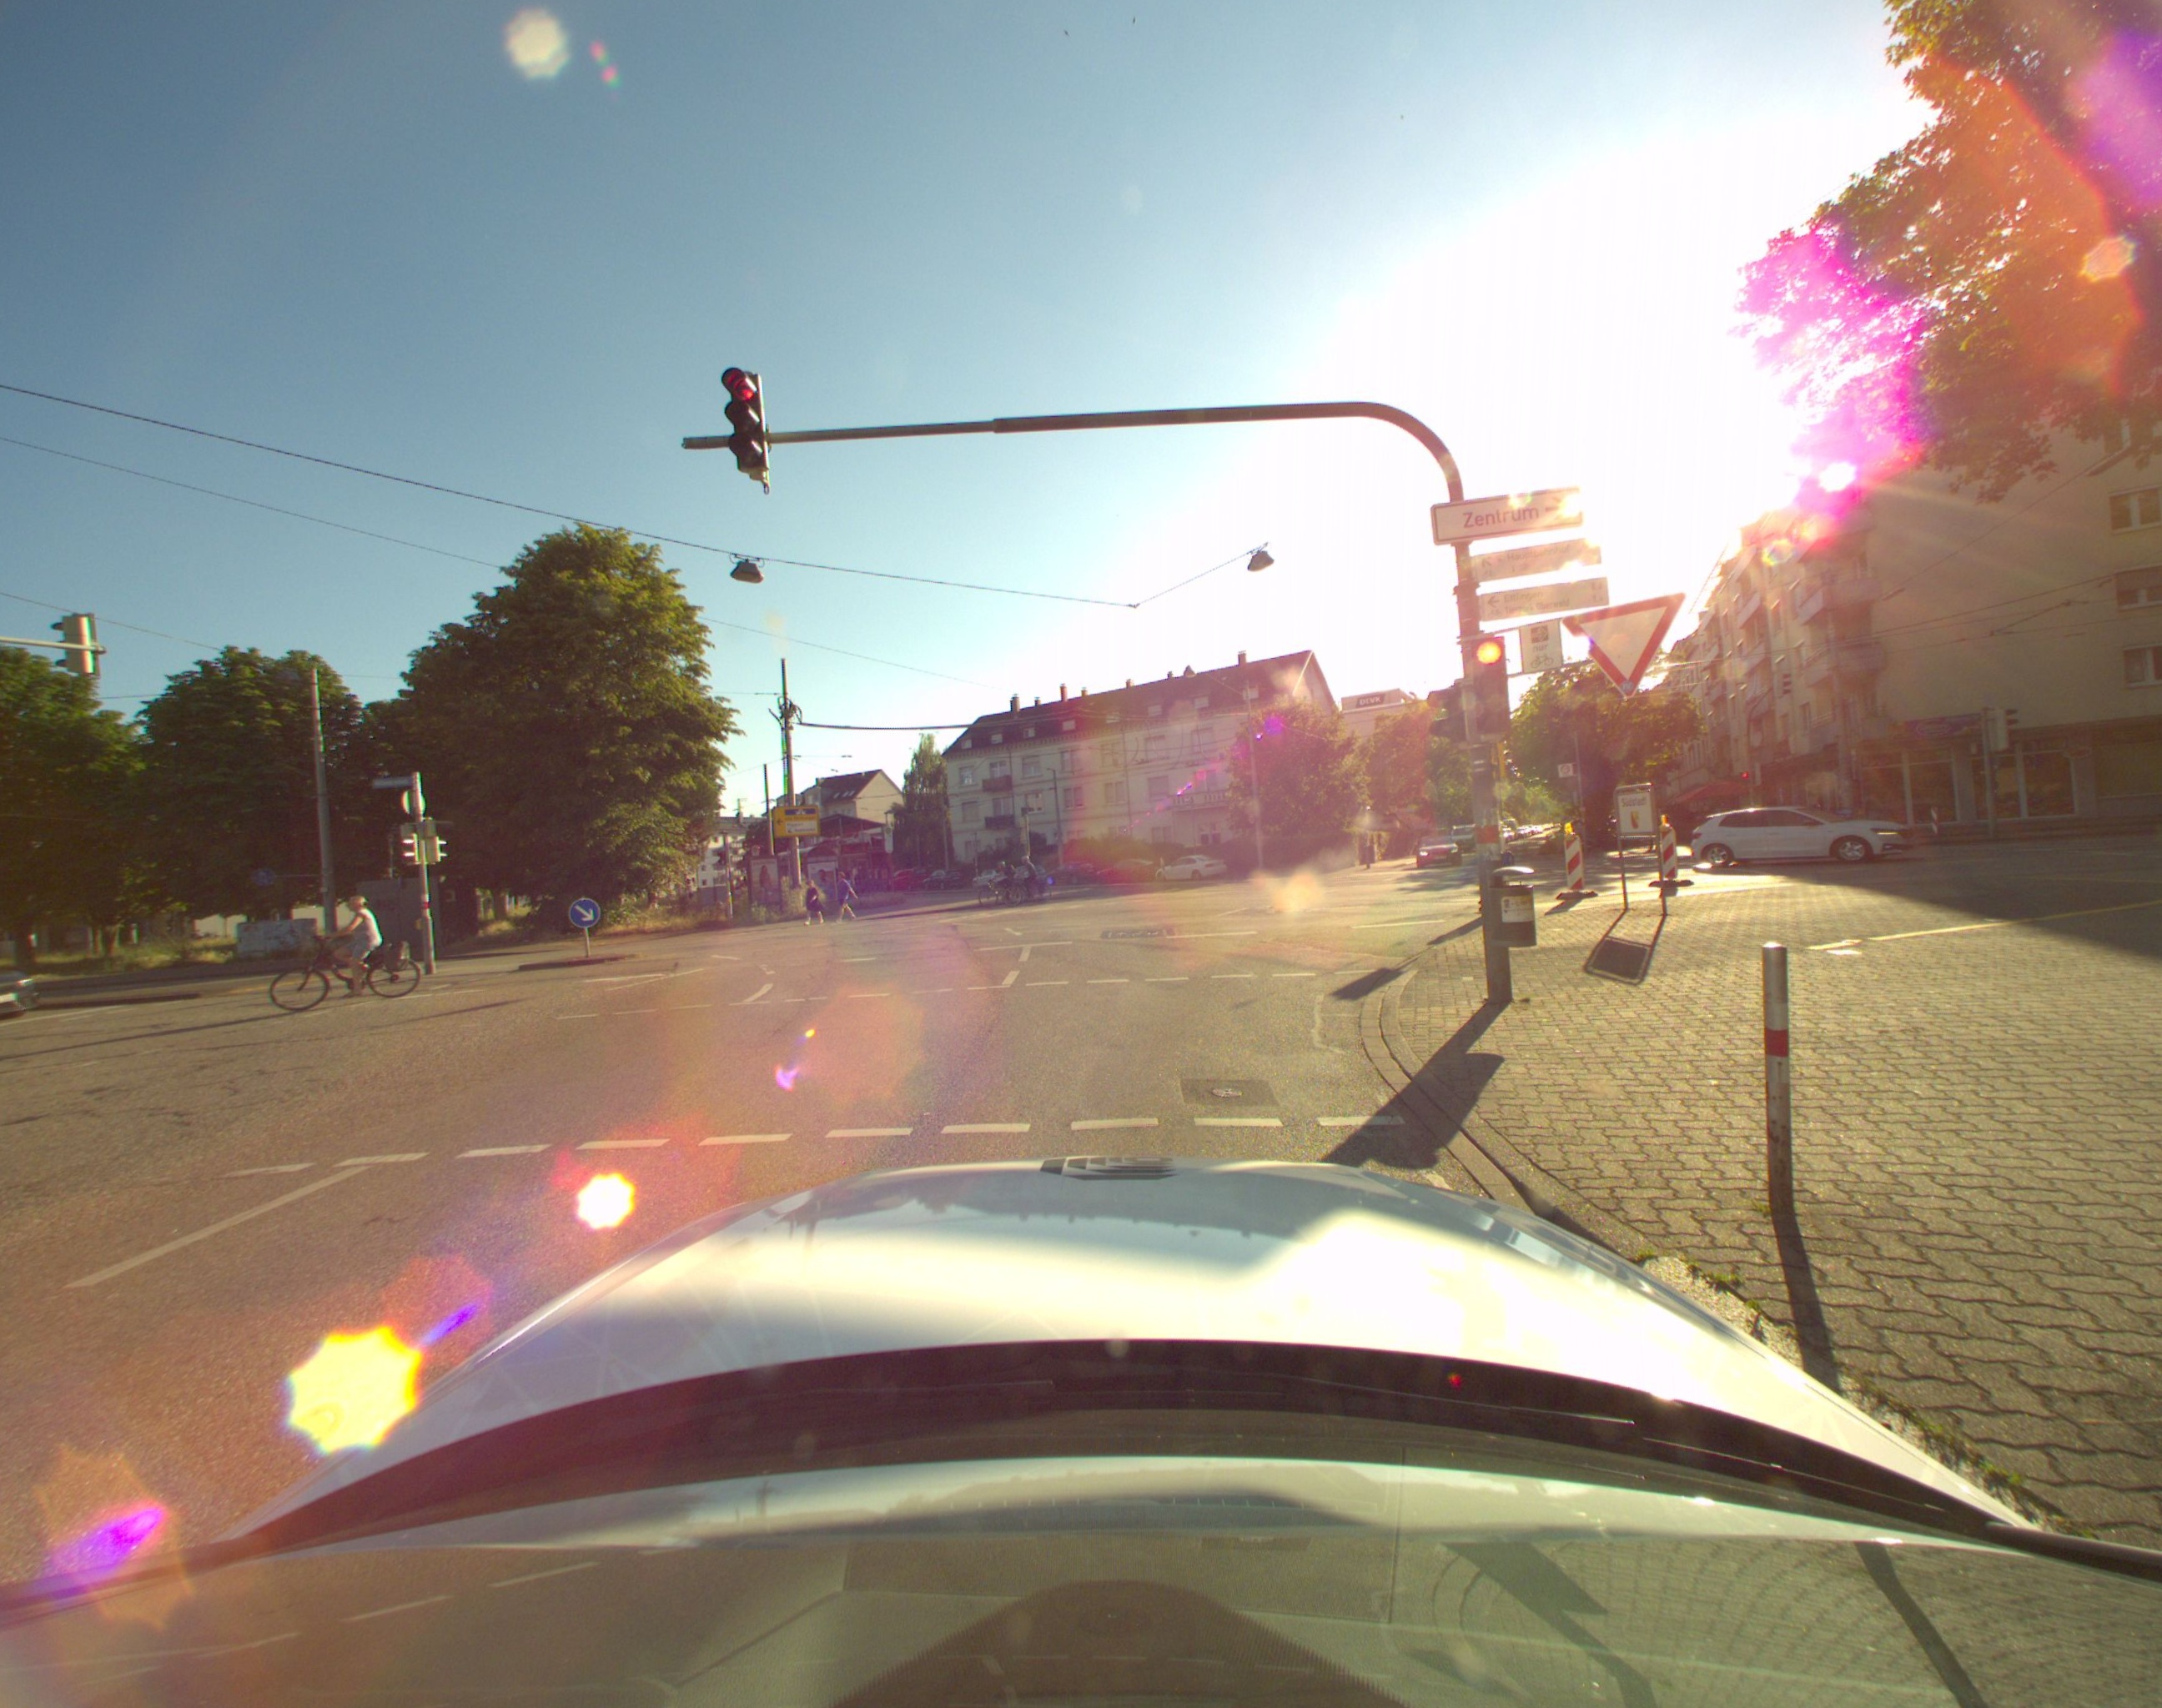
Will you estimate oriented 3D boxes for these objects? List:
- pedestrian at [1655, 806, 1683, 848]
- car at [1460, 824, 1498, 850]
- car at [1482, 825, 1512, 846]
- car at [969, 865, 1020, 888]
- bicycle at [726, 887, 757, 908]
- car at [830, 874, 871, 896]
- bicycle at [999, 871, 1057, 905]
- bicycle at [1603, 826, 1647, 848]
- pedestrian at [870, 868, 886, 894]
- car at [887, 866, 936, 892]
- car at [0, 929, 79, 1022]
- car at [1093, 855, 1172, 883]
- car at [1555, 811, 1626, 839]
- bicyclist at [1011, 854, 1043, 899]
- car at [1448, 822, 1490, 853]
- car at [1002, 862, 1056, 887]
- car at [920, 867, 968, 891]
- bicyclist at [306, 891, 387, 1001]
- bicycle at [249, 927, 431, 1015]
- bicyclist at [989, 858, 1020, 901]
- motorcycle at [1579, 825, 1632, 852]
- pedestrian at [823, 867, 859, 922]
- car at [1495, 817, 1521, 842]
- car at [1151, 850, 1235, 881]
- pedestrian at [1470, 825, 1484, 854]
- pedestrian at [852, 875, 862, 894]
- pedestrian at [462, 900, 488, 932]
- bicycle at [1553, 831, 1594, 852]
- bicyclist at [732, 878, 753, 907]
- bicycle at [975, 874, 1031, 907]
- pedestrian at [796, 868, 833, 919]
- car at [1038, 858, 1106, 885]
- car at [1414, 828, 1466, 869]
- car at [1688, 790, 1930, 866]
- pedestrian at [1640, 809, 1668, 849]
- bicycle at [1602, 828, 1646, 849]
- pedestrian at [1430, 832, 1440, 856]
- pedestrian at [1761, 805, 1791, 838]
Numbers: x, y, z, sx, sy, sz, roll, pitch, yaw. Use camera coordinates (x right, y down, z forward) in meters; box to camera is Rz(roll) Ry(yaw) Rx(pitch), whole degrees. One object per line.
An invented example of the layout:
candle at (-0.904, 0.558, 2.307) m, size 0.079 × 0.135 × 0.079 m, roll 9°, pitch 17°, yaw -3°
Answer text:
pedestrian at (25.835, -1.189, 35.765) m, size 0.799 × 1.750 × 0.685 m, roll -4°, pitch -1°, yaw -38°
car at (31.694, -1.339, 64.751) m, size 2.332 × 1.795 × 5.343 m, roll -5°, pitch -1°, yaw 28°
car at (39.721, -1.798, 77.669) m, size 2.332 × 1.795 × 5.343 m, roll -5°, pitch -1°, yaw 28°
car at (-6.585, 1.723, 61.682) m, size 1.855 × 1.447 × 3.912 m, roll -7°, pitch 1°, yaw -39°
bicycle at (-20.349, 2.609, 48.820) m, size 0.657 × 1.069 × 2.025 m, roll -4°, pitch 0°, yaw 11°
car at (-23.840, 3.184, 83.956) m, size 2.067 × 1.961 × 5.091 m, roll -7°, pitch 1°, yaw -39°
bicycle at (-1.919, 1.224, 29.489) m, size 2.010 × 1.069 × 0.662 m, roll -4°, pitch -1°, yaw -6°
bicycle at (26.469, -0.819, 39.659) m, size 1.707 × 0.932 × 0.565 m, roll -5°, pitch -1°, yaw 31°
pedestrian at (-16.470, 2.190, 66.039) m, size 0.928 × 2.013 × 0.761 m, roll -4°, pitch 0°, yaw -34°
car at (-15.200, 2.225, 72.770) m, size 2.067 × 1.961 × 5.091 m, roll -7°, pitch 1°, yaw -39°
car at (-21.397, 2.367, 14.639) m, size 4.415 × 1.567 × 2.057 m, roll -4°, pitch 0°, yaw 5°
car at (3.125, 0.939, 50.200) m, size 1.999 × 1.376 × 4.647 m, roll -7°, pitch 1°, yaw -44°
car at (44.685, -2.515, 71.617) m, size 5.042 × 1.924 × 2.377 m, roll -5°, pitch -2°, yaw 28°
bicyclist at (-1.954, 0.805, 29.510) m, size 1.032 × 1.532 × 0.697 m, roll -4°, pitch -1°, yaw -6°
car at (28.389, -1.236, 59.446) m, size 2.332 × 2.013 × 5.343 m, roll -5°, pitch -1°, yaw 28°
car at (-3.742, 1.453, 58.121) m, size 1.998 × 1.447 × 3.676 m, roll -7°, pitch 1°, yaw -39°
car at (-11.404, 2.067, 67.635) m, size 1.855 × 1.667 × 4.319 m, roll -7°, pitch 1°, yaw -39°
bicyclist at (-11.623, 1.424, 12.908) m, size 0.862 × 1.605 × 0.767 m, roll -4°, pitch -1°, yaw -42°
bicycle at (-11.628, 1.798, 12.868) m, size 2.030 × 1.069 × 0.655 m, roll -4°, pitch -1°, yaw -42°
bicyclist at (-2.875, 0.936, 30.464) m, size 1.033 × 1.532 × 0.659 m, roll -4°, pitch -1°, yaw -6°
motorcycle at (24.967, -0.718, 38.806) m, size 1.933 × 1.109 × 0.842 m, roll -5°, pitch -1°, yaw 26°
pedestrian at (-8.809, 1.457, 29.955) m, size 0.910 × 1.925 × 1.066 m, roll -4°, pitch -1°, yaw -4°
car at (47.952, -2.704, 91.343) m, size 2.332 × 2.514 × 5.343 m, roll -5°, pitch -1°, yaw 28°
car at (6.271, 0.670, 46.129) m, size 1.941 × 1.376 × 4.443 m, roll -7°, pitch 1°, yaw -40°
pedestrian at (25.281, -0.932, 51.992) m, size 0.655 × 1.839 × 0.687 m, roll -4°, pitch -1°, yaw 30°
pedestrian at (-18.462, 2.541, 67.006) m, size 0.569 × 1.500 × 0.672 m, roll -4°, pitch -1°, yaw -27°
pedestrian at (-37.807, 3.853, 50.823) m, size 0.938 × 1.872 × 0.688 m, roll -4°, pitch -1°, yaw 2°
bicycle at (24.919, -0.641, 41.200) m, size 1.707 × 0.932 × 0.676 m, roll -5°, pitch -1°, yaw 31°
bicyclist at (-20.346, 2.288, 48.921) m, size 0.664 × 1.652 × 0.889 m, roll -4°, pitch -1°, yaw 11°
bicycle at (-2.921, 1.351, 30.452) m, size 2.011 × 1.069 × 0.662 m, roll -4°, pitch -1°, yaw -7°
pedestrian at (-9.758, 1.435, 29.850) m, size 0.910 × 1.747 × 1.066 m, roll -4°, pitch -1°, yaw -4°
car at (-0.668, 1.192, 54.802) m, size 1.998 × 1.447 × 4.650 m, roll -7°, pitch 1°, yaw -39°
car at (16.135, -0.233, 36.476) m, size 1.876 × 1.564 × 4.418 m, roll -6°, pitch -2°, yaw 25°
car at (17.546, -0.580, 19.821) m, size 1.904 × 1.486 × 3.959 m, roll -4°, pitch -1°, yaw -31°
pedestrian at (25.968, -1.143, 36.905) m, size 0.799 × 1.750 × 0.710 m, roll -4°, pitch -1°, yaw -38°
bicycle at (26.868, -0.772, 40.323) m, size 1.707 × 0.932 × 0.565 m, roll -5°, pitch -1°, yaw 31°
pedestrian at (26.550, -0.775, 61.053) m, size 0.573 × 1.730 × 0.612 m, roll -4°, pitch -1°, yaw 26°
pedestrian at (33.529, -1.560, 39.292) m, size 0.804 × 1.544 × 0.919 m, roll -5°, pitch -1°, yaw 25°
